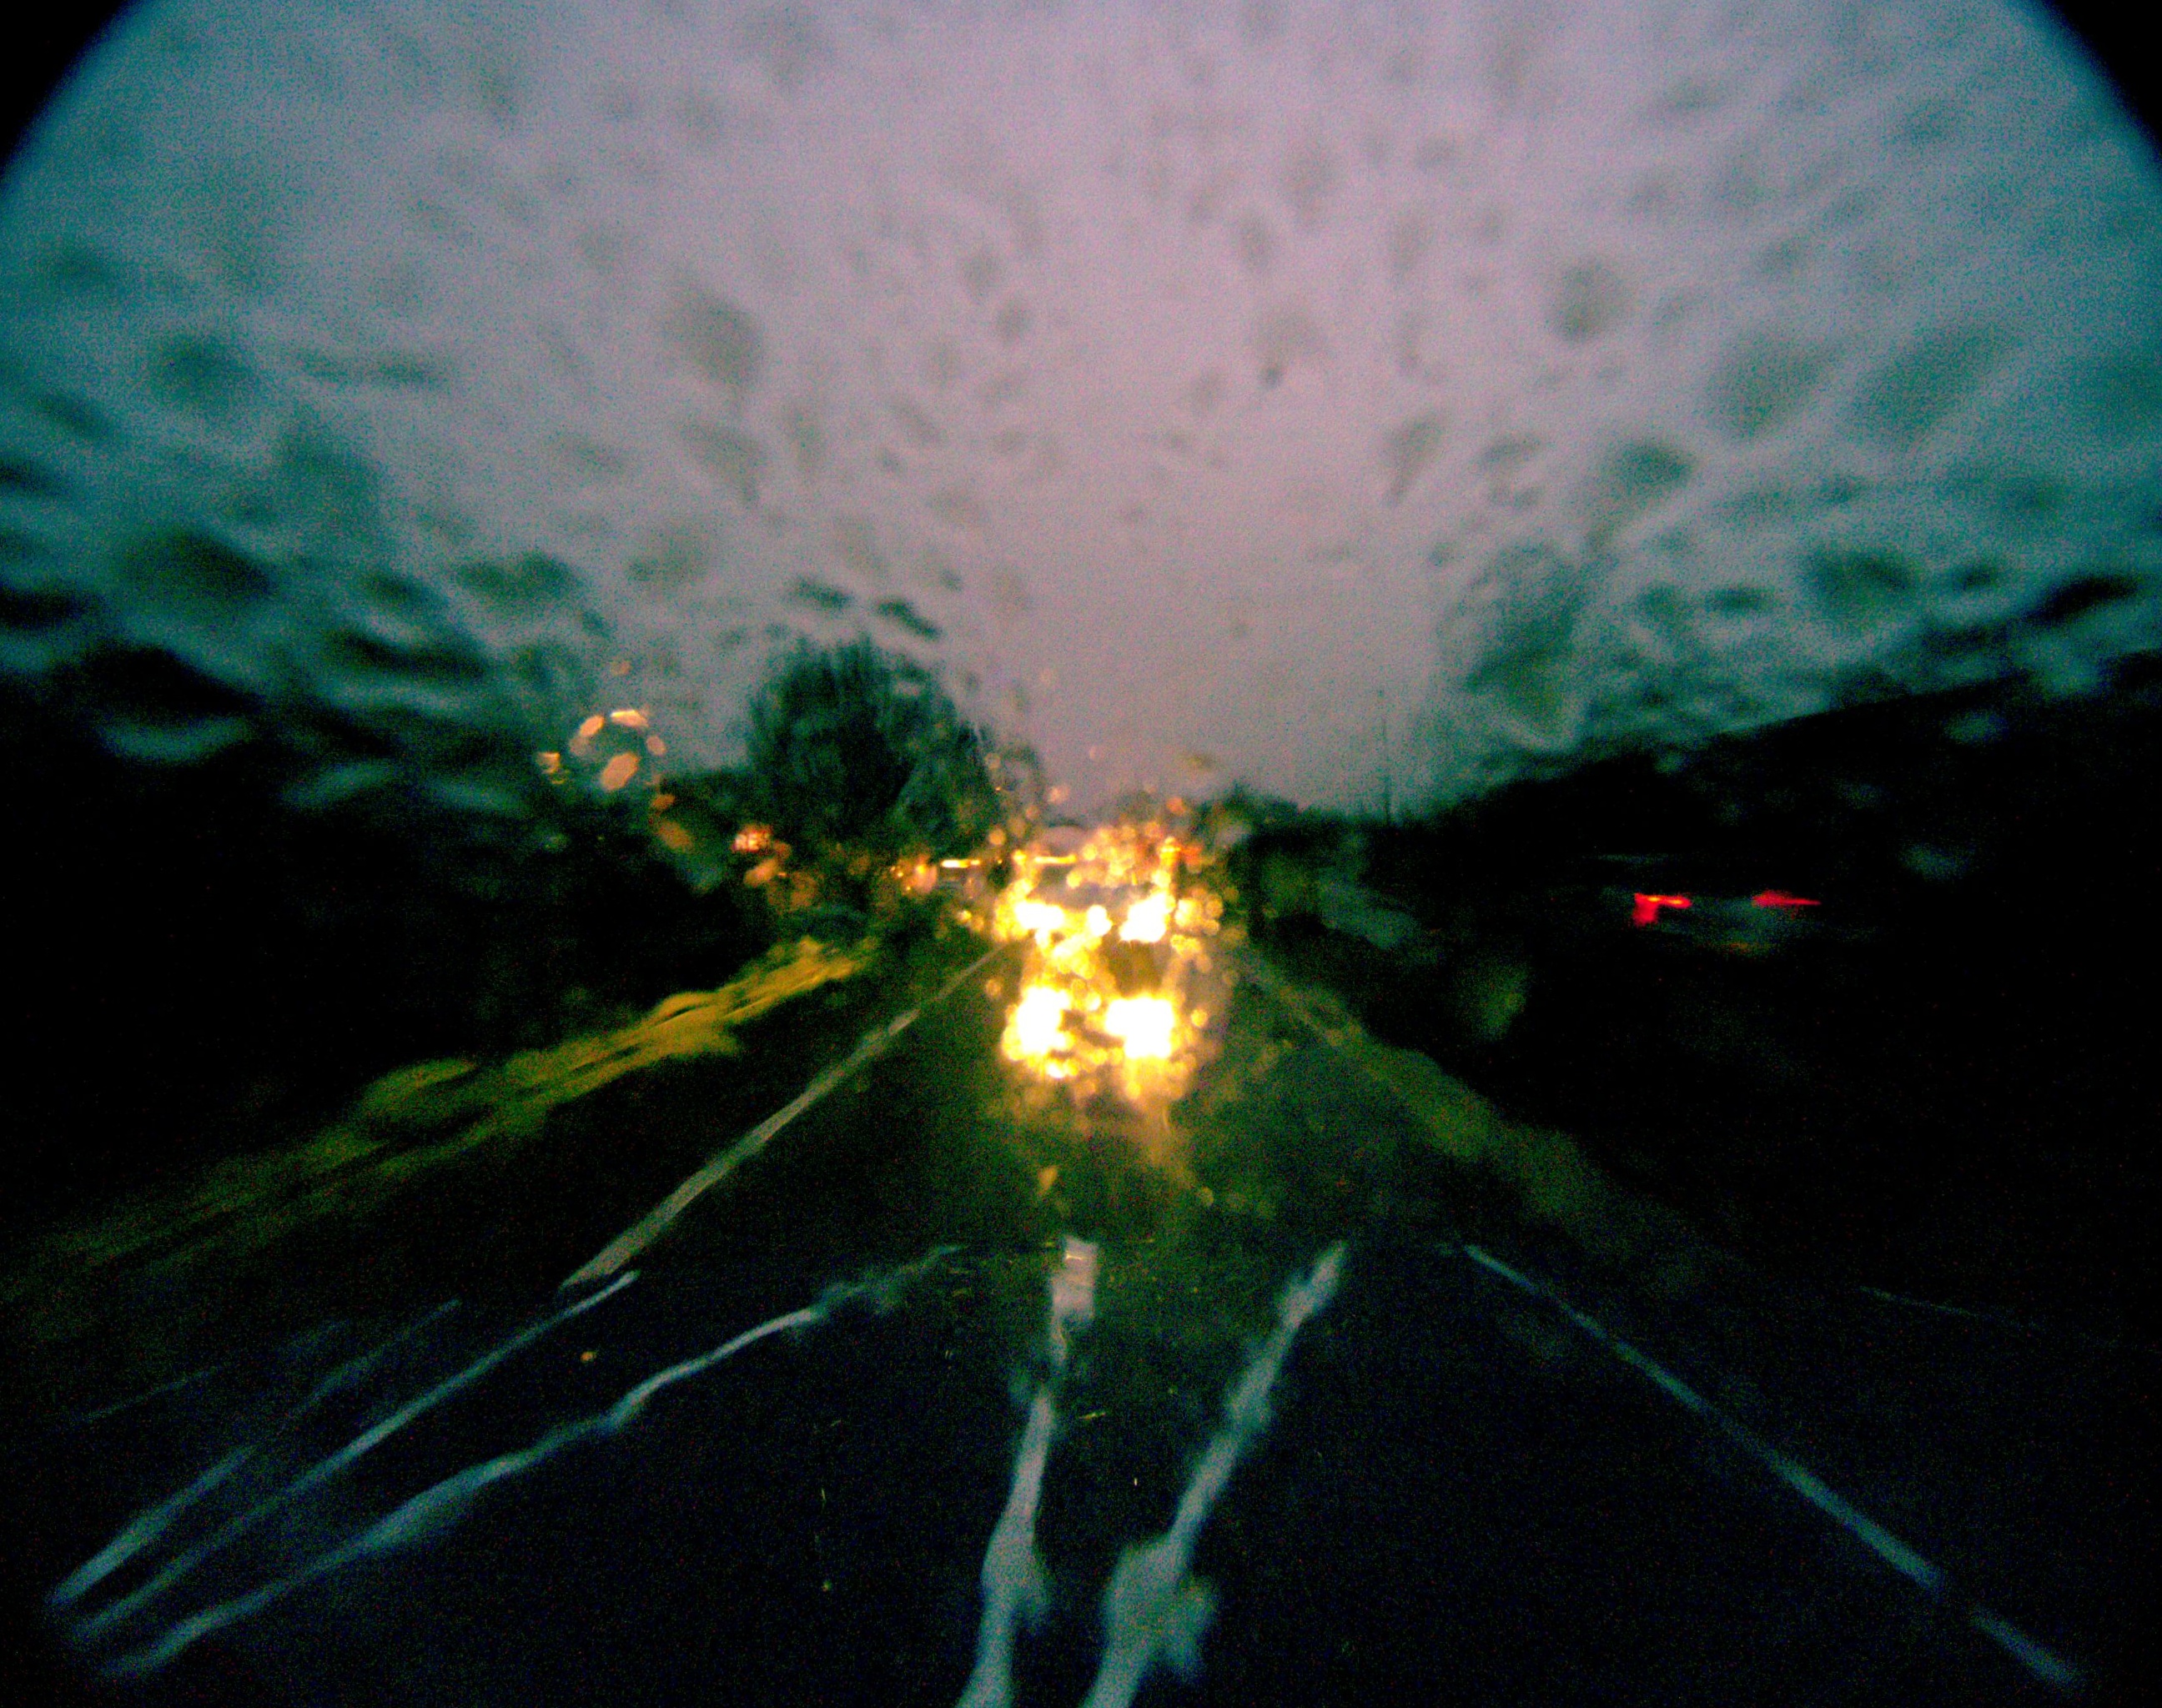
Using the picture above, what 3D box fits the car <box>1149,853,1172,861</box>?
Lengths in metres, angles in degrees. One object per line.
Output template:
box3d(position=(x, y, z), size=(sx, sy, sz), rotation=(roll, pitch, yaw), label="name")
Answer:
box3d(position=(15.739, 0.586, 150.088), size=(4.004, 1.588, 1.809), rotation=(-1, 1, 25), label="car")

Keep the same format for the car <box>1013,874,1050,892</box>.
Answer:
box3d(position=(-4.776, 2.787, 73.037), size=(3.258, 1.526, 1.391), rotation=(-4, 0, -11), label="car")

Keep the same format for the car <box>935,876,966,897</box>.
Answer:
box3d(position=(-11.022, 2.682, 63.854), size=(1.807, 1.526, 4.536), rotation=(-3, 0, -18), label="car")

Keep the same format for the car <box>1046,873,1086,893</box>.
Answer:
box3d(position=(-1.251, 2.471, 64.672), size=(1.769, 1.421, 3.817), rotation=(-1, 1, 26), label="car")

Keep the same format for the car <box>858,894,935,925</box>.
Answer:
box3d(position=(-10.433, 3.118, 42.902), size=(4.003, 1.412, 1.629), rotation=(-2, 1, -20), label="car")

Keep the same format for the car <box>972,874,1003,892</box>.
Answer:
box3d(position=(-9.390, 2.872, 76.011), size=(1.804, 1.586, 3.971), rotation=(-2, 0, -28), label="car")

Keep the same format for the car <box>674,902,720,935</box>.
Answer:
box3d(position=(-21.309, 3.543, 42.276), size=(1.570, 1.421, 3.756), rotation=(-2, 0, -16), label="car")

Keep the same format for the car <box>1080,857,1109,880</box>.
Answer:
box3d(position=(1.510, 1.656, 89.558), size=(2.281, 2.426, 5.234), rotation=(-2, 1, -12), label="car")

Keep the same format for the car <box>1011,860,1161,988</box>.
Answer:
box3d(position=(0.179, 0.919, 11.795), size=(1.809, 1.452, 4.247), rotation=(-4, 0, 3), label="car")

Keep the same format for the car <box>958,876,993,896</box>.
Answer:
box3d(position=(-9.366, 2.795, 67.233), size=(1.828, 1.629, 4.462), rotation=(-3, -1, -24), label="car")

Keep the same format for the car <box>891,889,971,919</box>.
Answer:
box3d(position=(-9.174, 3.030, 46.404), size=(4.590, 1.447, 1.928), rotation=(-3, 1, -15), label="car")

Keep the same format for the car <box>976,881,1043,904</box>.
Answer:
box3d(position=(-5.307, 2.802, 56.071), size=(4.706, 1.389, 1.902), rotation=(-2, 1, -13), label="car")

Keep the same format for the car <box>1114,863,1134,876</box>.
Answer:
box3d(position=(5.364, 1.957, 95.697), size=(1.715, 1.404, 4.010), rotation=(-2, 1, -9), label="car")

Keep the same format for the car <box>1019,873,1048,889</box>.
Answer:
box3d(position=(-4.832, 2.749, 77.089), size=(1.722, 1.508, 3.251), rotation=(-3, 0, -26), label="car")

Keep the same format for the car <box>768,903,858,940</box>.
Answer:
box3d(position=(-13.025, 3.248, 37.001), size=(4.003, 1.431, 1.794), rotation=(-2, 1, -20), label="car")

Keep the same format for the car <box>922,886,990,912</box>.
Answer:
box3d(position=(-8.183, 2.941, 49.802), size=(4.182, 1.389, 1.901), rotation=(-2, 1, -16), label="car")

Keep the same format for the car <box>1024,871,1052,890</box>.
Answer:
box3d(position=(-4.854, 2.932, 84.996), size=(1.889, 1.946, 4.953), rotation=(-4, 0, -17), label="car")

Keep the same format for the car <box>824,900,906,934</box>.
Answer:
box3d(position=(-11.423, 3.278, 40.154), size=(4.003, 1.412, 1.629), rotation=(-2, 1, -20), label="car")

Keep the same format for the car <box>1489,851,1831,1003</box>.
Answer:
box3d(position=(6.762, 0.731, 9.436), size=(1.610, 1.461, 3.686), rotation=(-2, 0, 4), label="car")

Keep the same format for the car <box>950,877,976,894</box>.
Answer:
box3d(position=(-11.323, 3.001, 72.738), size=(1.729, 1.493, 4.019), rotation=(-2, 0, -20), label="car")

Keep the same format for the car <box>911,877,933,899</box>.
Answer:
box3d(position=(-12.768, 2.679, 61.062), size=(1.600, 1.576, 3.628), rotation=(-3, 0, -13), label="car")
